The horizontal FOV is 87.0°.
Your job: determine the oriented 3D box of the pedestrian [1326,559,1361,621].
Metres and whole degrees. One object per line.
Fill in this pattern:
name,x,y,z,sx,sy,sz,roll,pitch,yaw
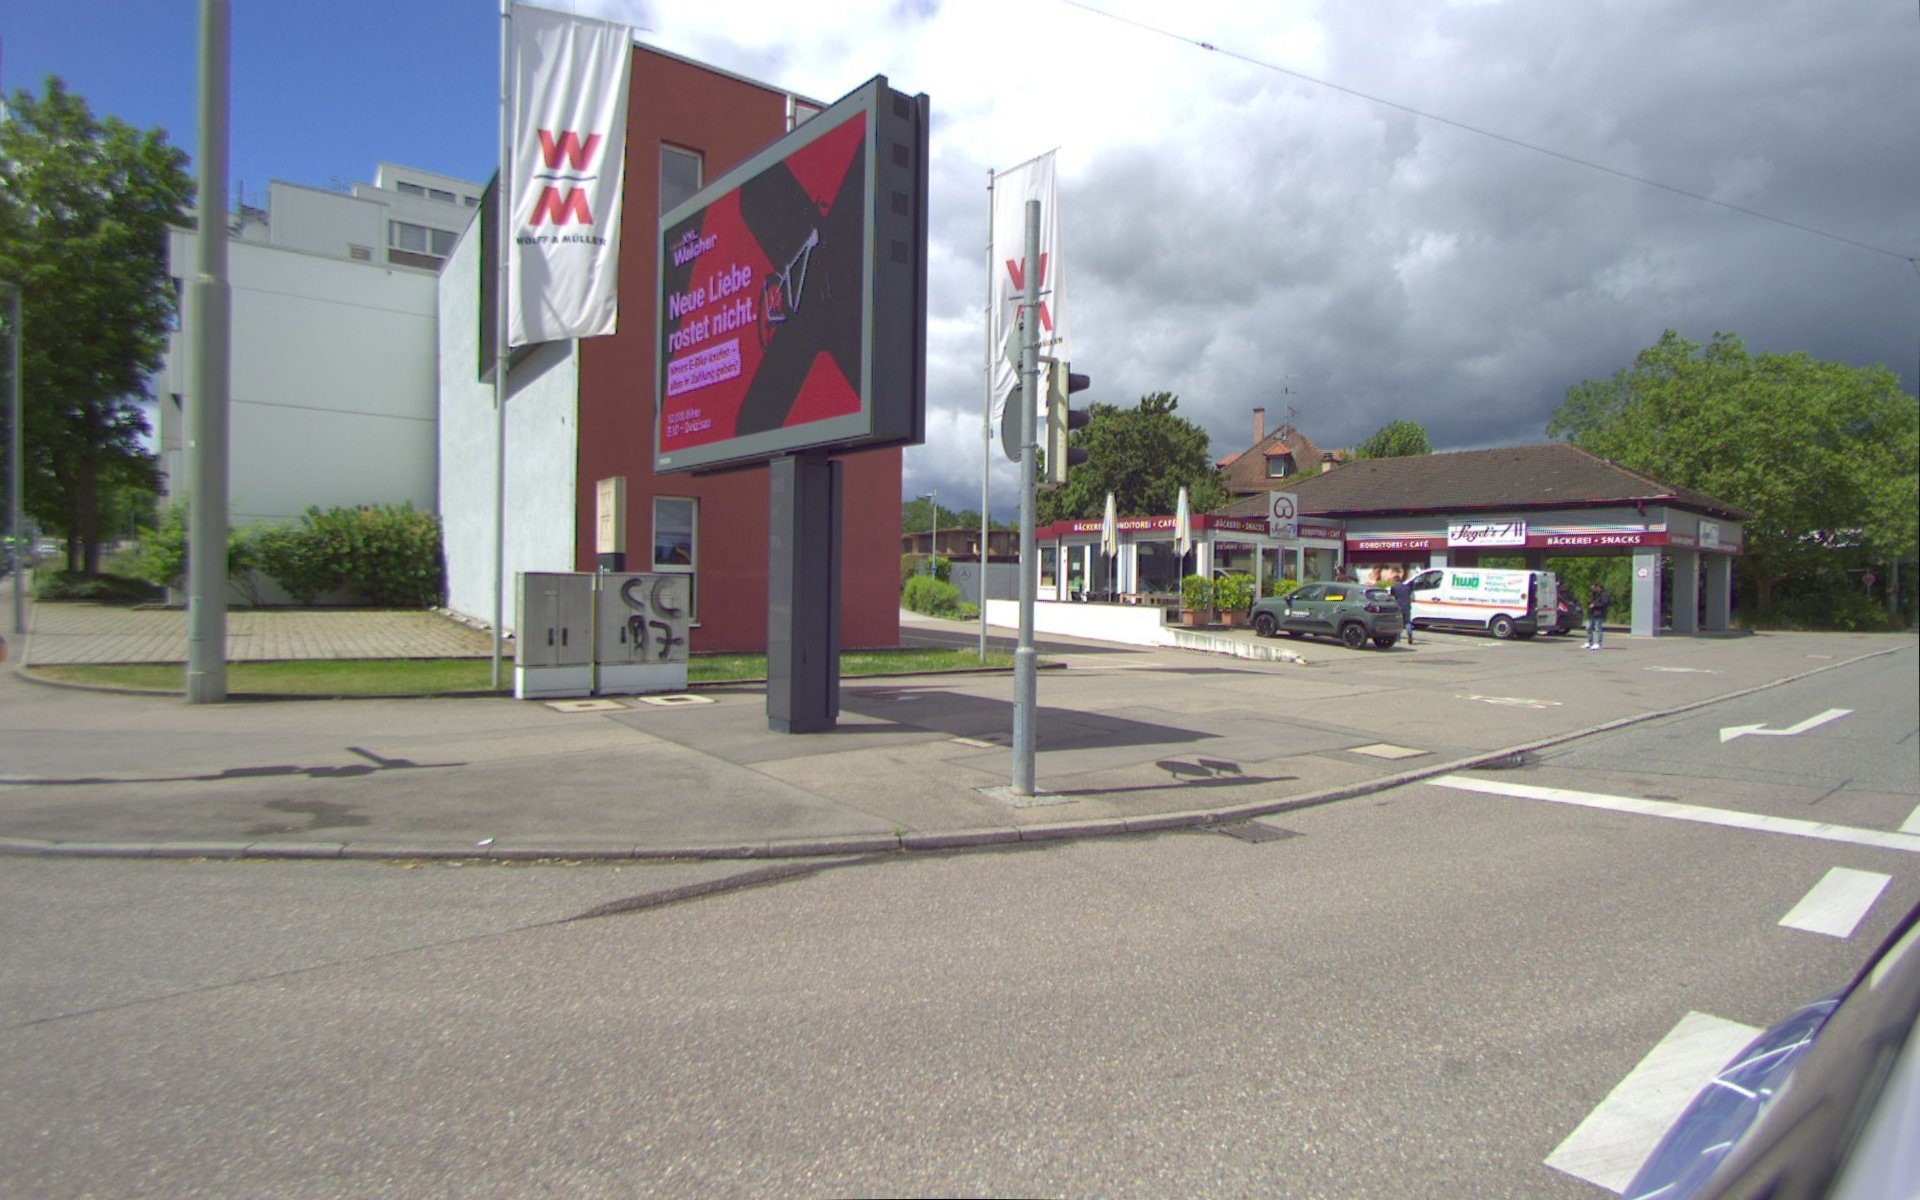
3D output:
pedestrian,10.975,-0.291,28.981,0.558,1.728,0.752,1,1,-13

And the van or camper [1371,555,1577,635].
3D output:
van or camper,15.062,-0.246,29.907,2.173,1.981,4.911,-1,5,-39

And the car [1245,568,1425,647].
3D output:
car,9.045,0.107,24.634,1.730,1.503,3.679,-1,6,-38

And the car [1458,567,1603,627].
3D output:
car,17.673,-0.143,31.447,1.804,1.503,3.459,-2,6,-42

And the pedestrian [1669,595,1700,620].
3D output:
pedestrian,37.498,0.381,52.397,0.945,1.264,0.888,0,1,-12

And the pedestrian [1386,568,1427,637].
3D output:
pedestrian,11.303,0.059,25.623,0.617,1.728,0.716,1,1,-13

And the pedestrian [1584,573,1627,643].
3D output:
pedestrian,16.306,0.180,25.556,0.726,1.728,0.714,0,1,-40
